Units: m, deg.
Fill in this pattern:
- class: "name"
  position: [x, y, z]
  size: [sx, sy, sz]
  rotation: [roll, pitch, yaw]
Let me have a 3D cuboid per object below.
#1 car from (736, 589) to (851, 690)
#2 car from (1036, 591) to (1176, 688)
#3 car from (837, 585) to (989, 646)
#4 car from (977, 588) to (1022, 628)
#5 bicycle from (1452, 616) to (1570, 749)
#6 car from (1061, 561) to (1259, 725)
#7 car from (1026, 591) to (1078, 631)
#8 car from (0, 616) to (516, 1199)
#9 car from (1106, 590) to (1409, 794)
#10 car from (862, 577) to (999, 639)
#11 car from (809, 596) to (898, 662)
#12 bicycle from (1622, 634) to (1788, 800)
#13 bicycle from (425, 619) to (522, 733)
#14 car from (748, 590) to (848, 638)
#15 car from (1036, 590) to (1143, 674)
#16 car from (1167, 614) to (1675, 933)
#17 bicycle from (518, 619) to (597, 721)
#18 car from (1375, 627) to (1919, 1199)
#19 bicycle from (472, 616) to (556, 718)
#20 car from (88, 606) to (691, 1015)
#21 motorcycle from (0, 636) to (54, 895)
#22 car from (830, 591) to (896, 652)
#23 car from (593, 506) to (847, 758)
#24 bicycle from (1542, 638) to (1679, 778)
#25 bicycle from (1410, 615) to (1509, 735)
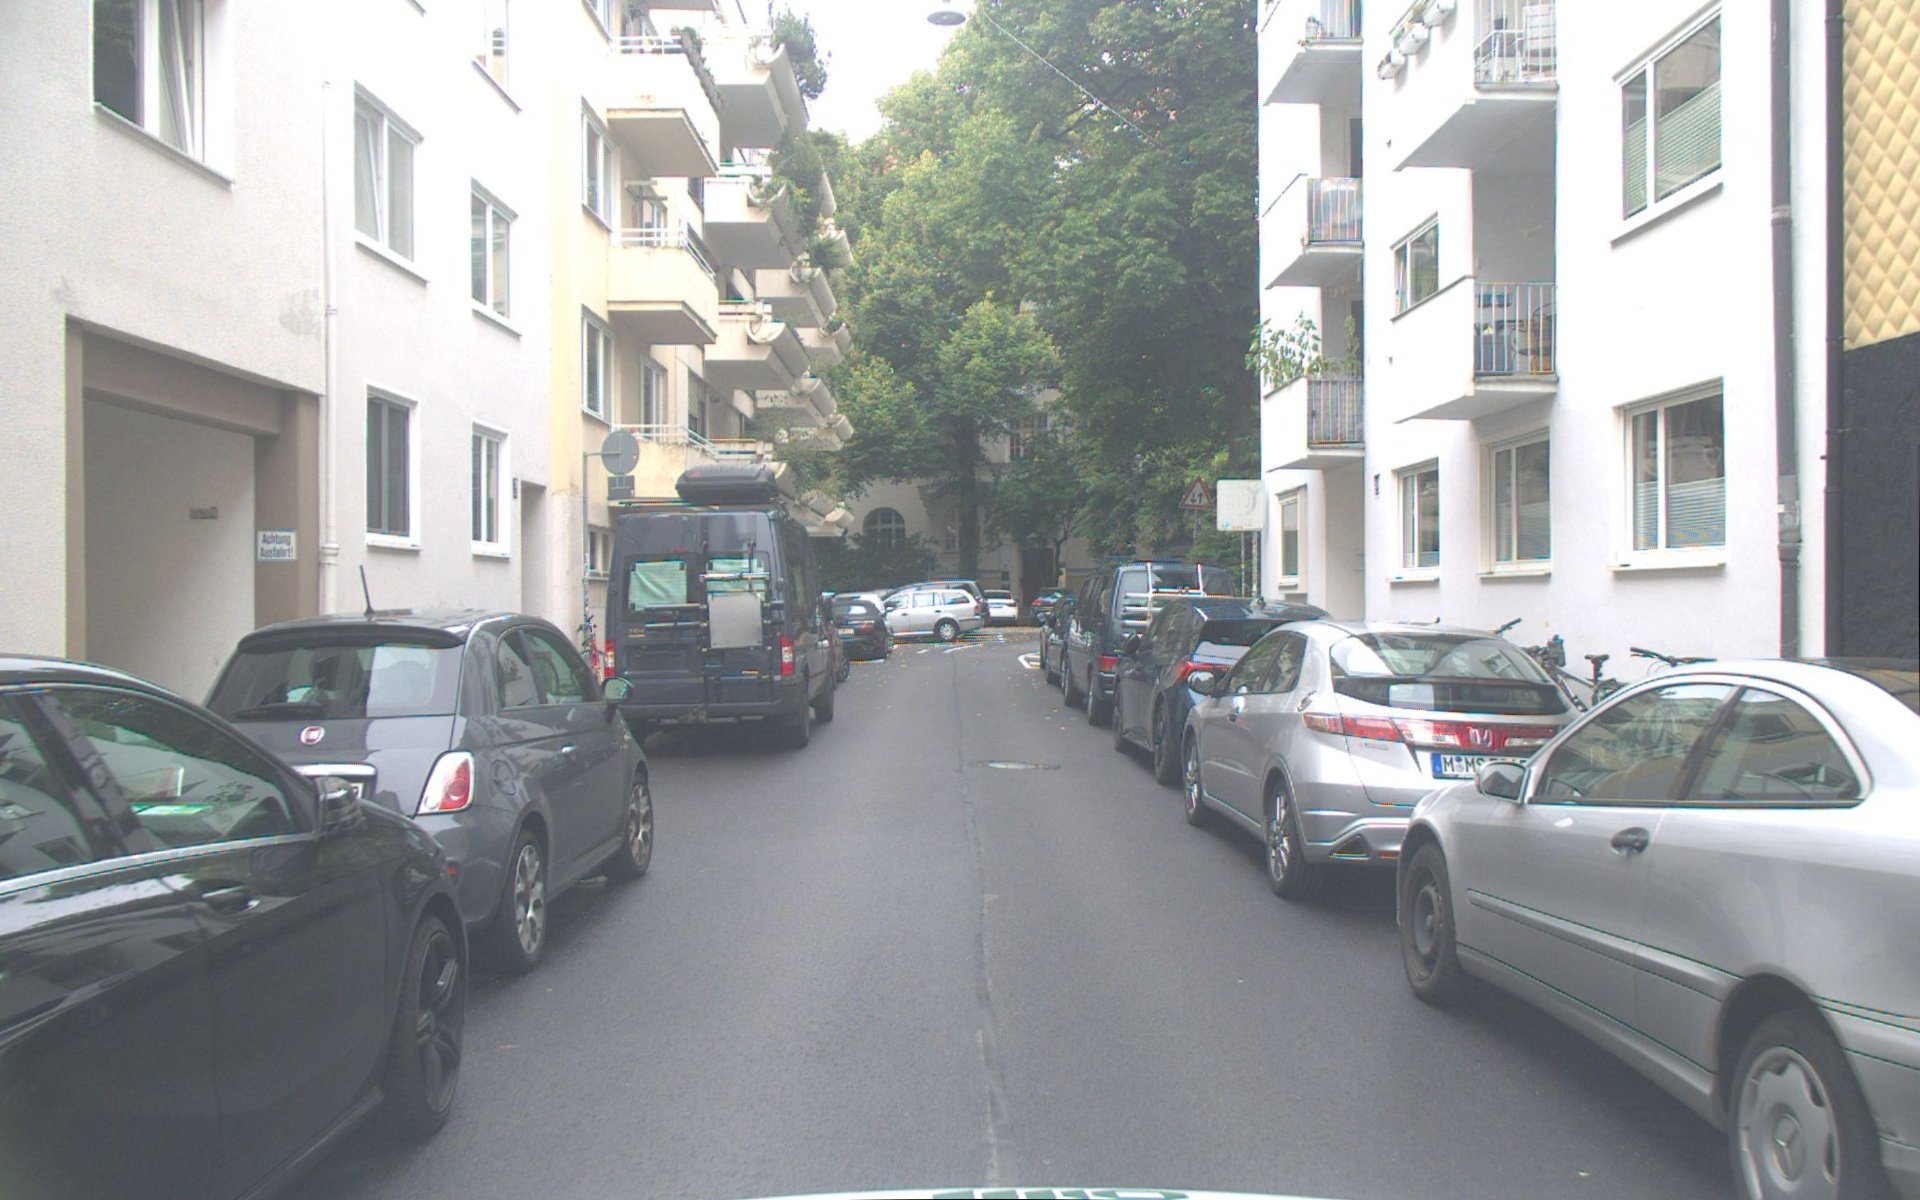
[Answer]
- class: "car"
  position: [-2.672, 0.592, 27.183]
  size: [1.587, 1.522, 3.708]
  rotation: [-1, 0, -2]
- class: "car"
  position: [2.287, 0.584, 26.908]
  size: [1.796, 1.444, 4.057]
  rotation: [-1, 0, -2]
- class: "car"
  position: [-1.306, 0.424, 46.518]
  size: [4.142, 1.480, 1.721]
  rotation: [-3, 0, -1]
- class: "car"
  position: [1.525, 0.281, 63.795]
  size: [1.683, 1.456, 4.001]
  rotation: [0, 0, 2]
- class: "bicycle"
  position: [5.194, 0.750, 15.663]
  size: [0.559, 1.171, 1.563]
  rotation: [0, 0, -1]
- class: "car"
  position: [2.394, 0.482, 20.956]
  size: [1.836, 1.822, 4.781]
  rotation: [0, 0, -1]
- class: "car"
  position: [3.532, 0.402, 62.738]
  size: [1.753, 1.456, 4.003]
  rotation: [0, 0, 6]
- class: "car"
  position: [-2.291, 0.778, 3.453]
  size: [1.765, 1.442, 4.224]
  rotation: [0, 0, -3]
- class: "car"
  position: [2.538, 0.720, 15.261]
  size: [1.867, 1.581, 4.624]
  rotation: [0, 0, -1]
- class: "car"
  position: [-0.937, 0.232, 51.775]
  size: [4.135, 1.713, 1.901]
  rotation: [-3, 0, -3]
- class: "car"
  position: [-2.342, 0.618, 37.381]
  size: [1.760, 1.300, 4.616]
  rotation: [-2, 0, -1]
- class: "bicycle"
  position: [5.275, 0.796, 11.790]
  size: [0.467, 1.066, 1.521]
  rotation: [0, 0, -1]
- class: "bicycle"
  position: [-5.135, 0.776, 17.545]
  size: [0.453, 1.117, 1.870]
  rotation: [0, 0, 1]
- class: "car"
  position: [-5.699, 0.482, 58.215]
  size: [3.239, 1.659, 1.501]
  rotation: [0, 0, -20]
- class: "car"
  position: [2.383, 0.562, 31.284]
  size: [1.707, 1.466, 4.000]
  rotation: [-1, 0, 0]
- class: "car"
  position: [2.516, 0.866, 10.176]
  size: [1.724, 1.456, 4.259]
  rotation: [3, 0, -3]
- class: "bicycle"
  position: [-4.731, 0.799, 19.521]
  size: [0.453, 1.117, 1.870]
  rotation: [0, 0, 1]
- class: "car"
  position: [2.734, 0.847, 5.112]
  size: [1.699, 1.454, 4.200]
  rotation: [0, 0, -2]
- class: "bicycle"
  position: [-5.221, 0.757, 19.430]
  size: [0.453, 1.117, 1.870]
  rotation: [0, 0, 1]
- class: "car"
  position: [-2.480, 0.807, 8.173]
  size: [1.578, 1.471, 3.743]
  rotation: [-3, 0, 1]
- class: "motorcycle"
  position: [-4.843, 0.796, 7.516]
  size: [0.587, 1.224, 1.856]
  rotation: [0, 0, -6]
- class: "car"
  position: [-2.451, 0.516, 42.526]
  size: [1.529, 1.446, 3.832]
  rotation: [-2, 0, -2]
- class: "car"
  position: [-2.458, 0.305, 18.379]
  size: [1.977, 2.318, 5.390]
  rotation: [-2, 0, 0]
- class: "bicycle"
  position: [5.229, 0.842, 13.377]
  size: [0.467, 1.020, 1.552]
  rotation: [0, 0, -1]
- class: "bicycle"
  position: [5.179, 0.756, 17.216]
  size: [0.559, 1.171, 1.430]
  rotation: [0, 0, -1]
